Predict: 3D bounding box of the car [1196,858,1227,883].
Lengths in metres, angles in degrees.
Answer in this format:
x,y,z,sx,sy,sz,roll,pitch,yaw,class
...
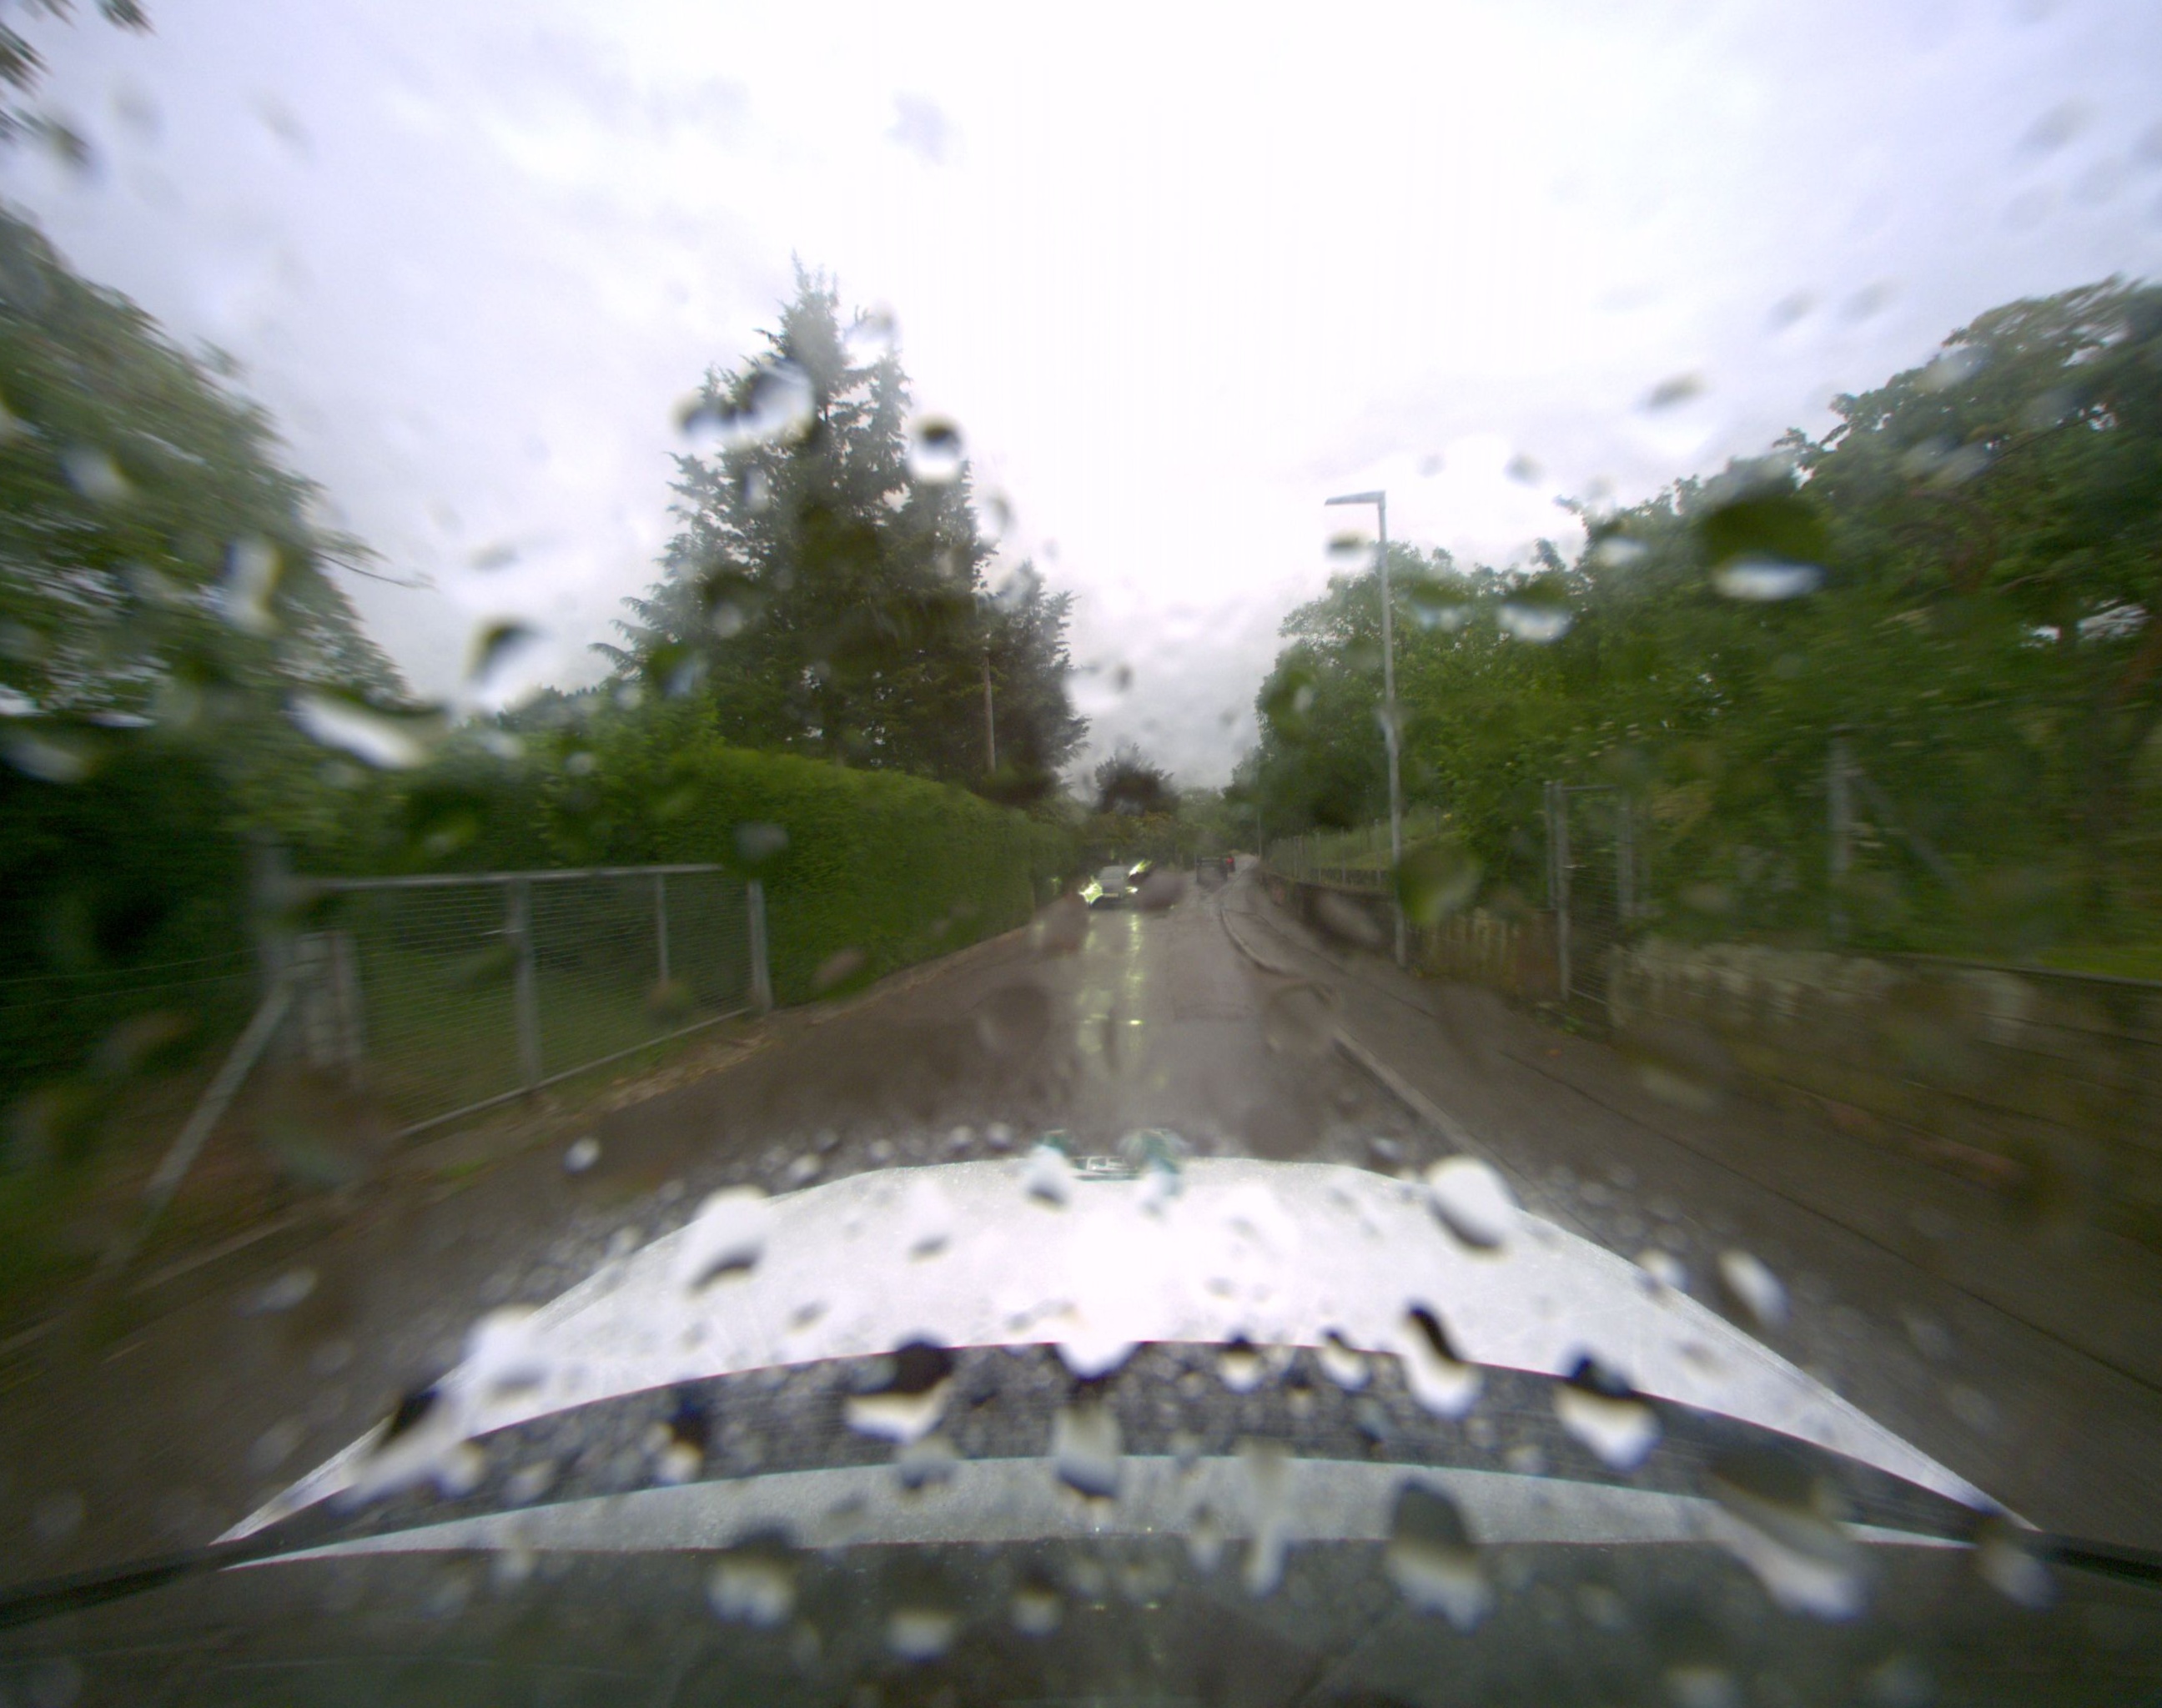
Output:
x,y,z,sx,sy,sz,roll,pitch,yaw,class
8.002,0.975,49.745,1.624,1.450,3.556,-1,-1,12,car

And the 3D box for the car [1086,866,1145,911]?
x,y,z,sx,sy,sz,roll,pitch,yaw,class
1.375,1.237,30.874,1.879,1.523,4.429,-1,-1,6,car

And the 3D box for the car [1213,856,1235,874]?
x,y,z,sx,sy,sz,roll,pitch,yaw,class
11.823,0.871,67.058,1.624,1.414,3.556,-1,-1,12,car
